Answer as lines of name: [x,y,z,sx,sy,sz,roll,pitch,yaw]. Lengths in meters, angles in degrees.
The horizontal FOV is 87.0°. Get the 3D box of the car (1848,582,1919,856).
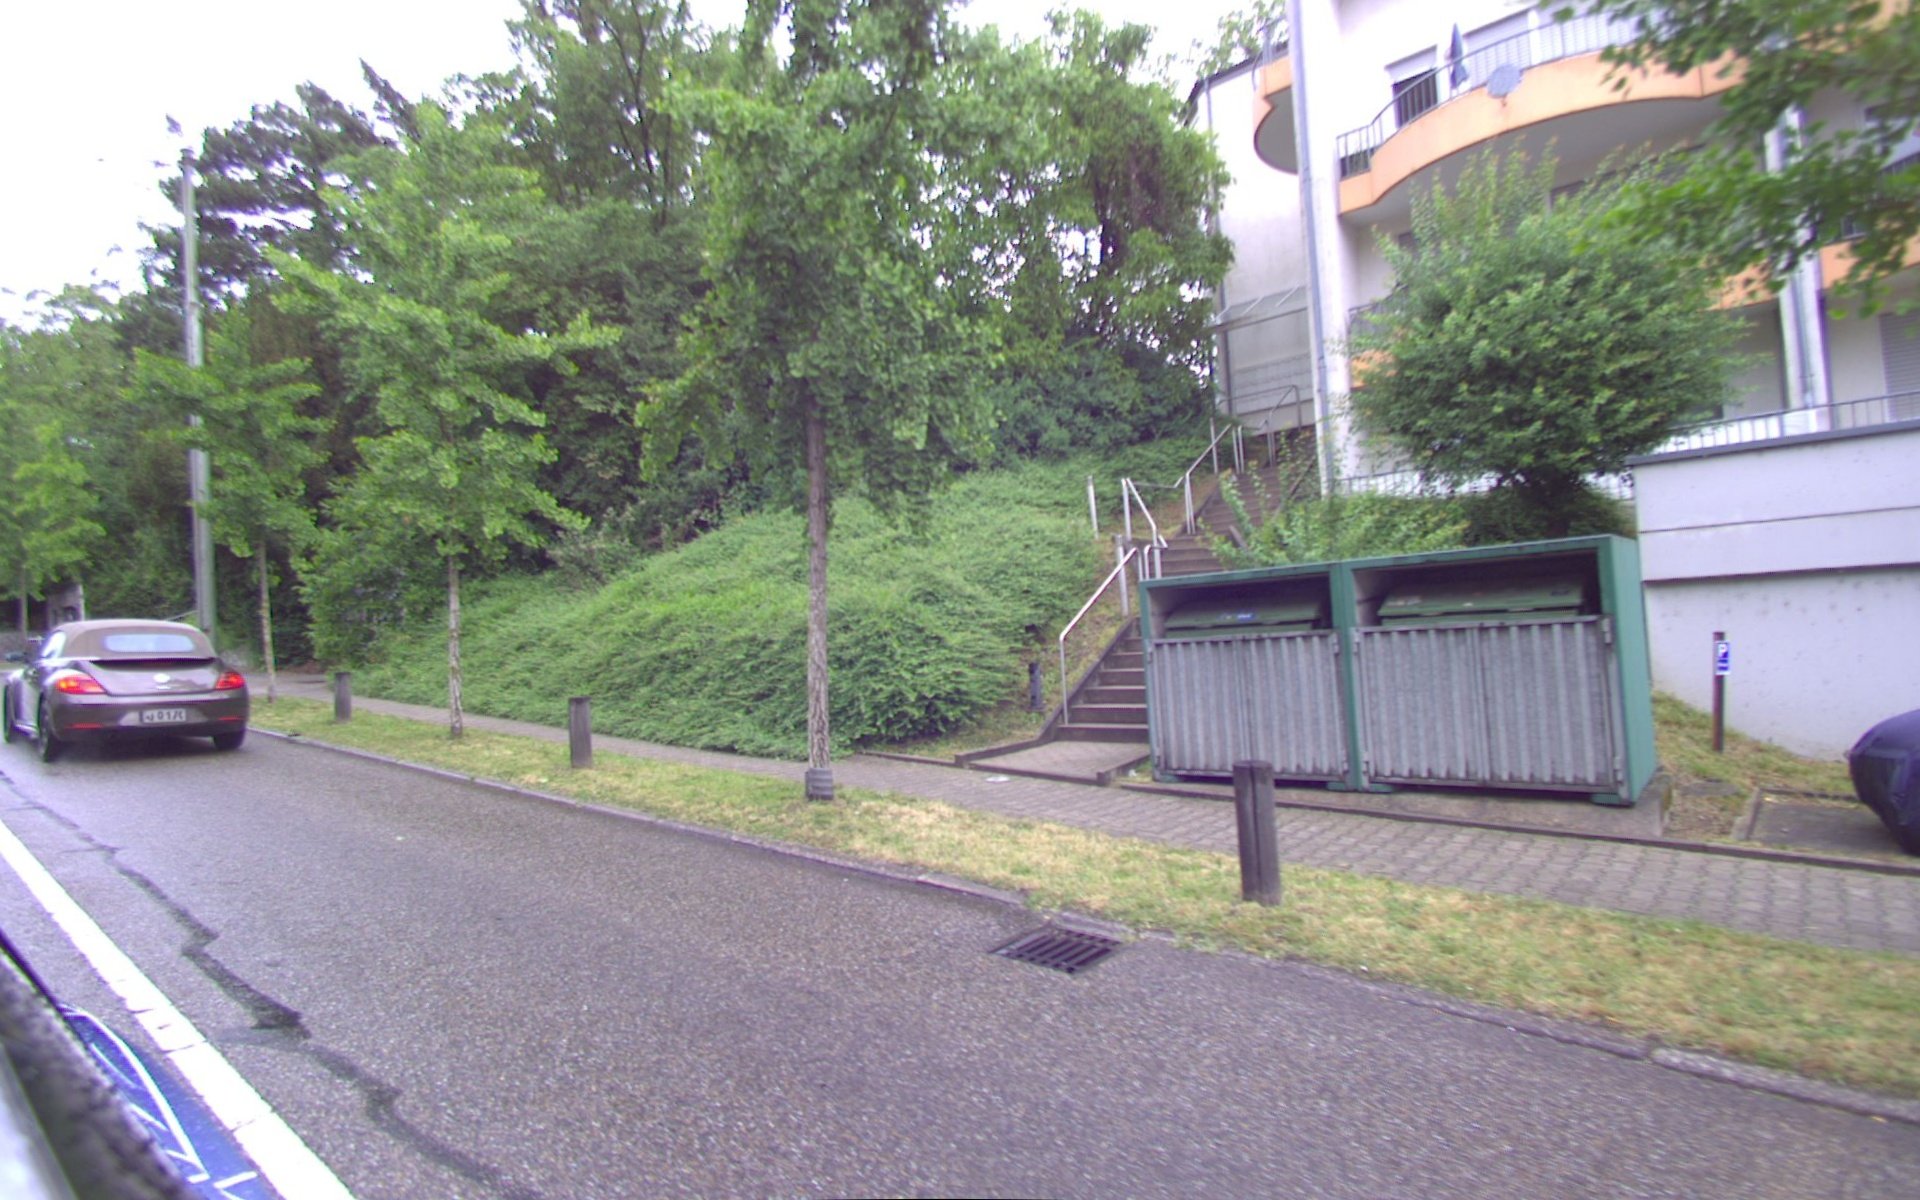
car: [7.455,0.705,5.343,4.095,1.573,1.759,-1,-5,41]

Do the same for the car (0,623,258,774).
car: [-9.885,1.021,11.837,3.997,1.459,1.759,-1,-3,40]
